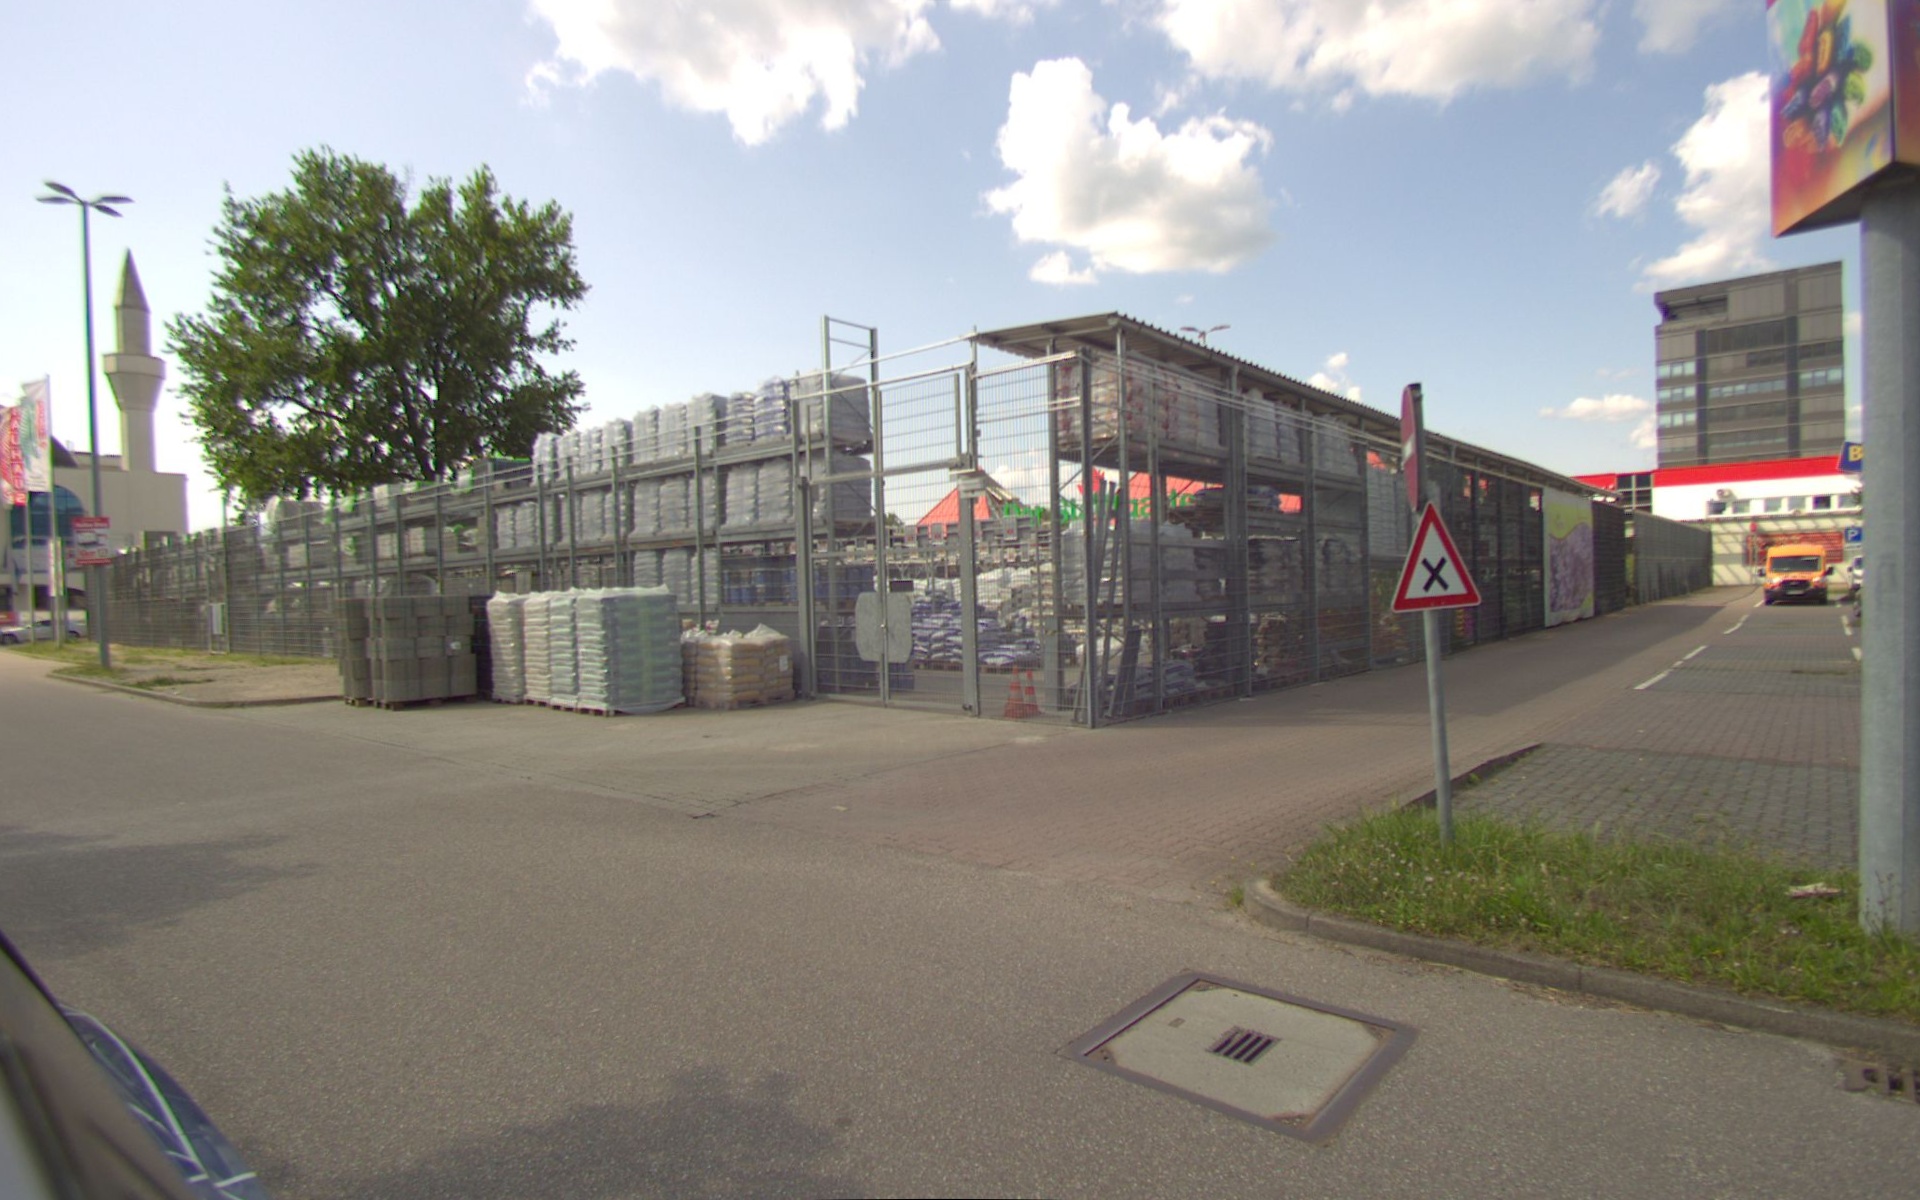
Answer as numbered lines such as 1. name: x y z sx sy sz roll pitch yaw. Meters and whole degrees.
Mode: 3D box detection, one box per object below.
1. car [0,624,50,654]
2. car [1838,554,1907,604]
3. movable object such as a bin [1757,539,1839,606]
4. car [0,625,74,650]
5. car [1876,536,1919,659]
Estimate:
1. car: -55.006 2.263 58.511 1.775 1.509 3.438 3 3 42
2. car: 39.701 -0.926 44.123 1.999 2.028 4.743 3 2 40
3. movable object such as a bin: 34.093 -1.100 41.311 2.126 2.512 5.273 -1 0 36
4. car: -55.797 2.245 60.876 1.651 1.377 3.658 -2 -1 43
5. car: 18.021 -0.104 18.274 1.999 2.029 5.117 -1 0 41
